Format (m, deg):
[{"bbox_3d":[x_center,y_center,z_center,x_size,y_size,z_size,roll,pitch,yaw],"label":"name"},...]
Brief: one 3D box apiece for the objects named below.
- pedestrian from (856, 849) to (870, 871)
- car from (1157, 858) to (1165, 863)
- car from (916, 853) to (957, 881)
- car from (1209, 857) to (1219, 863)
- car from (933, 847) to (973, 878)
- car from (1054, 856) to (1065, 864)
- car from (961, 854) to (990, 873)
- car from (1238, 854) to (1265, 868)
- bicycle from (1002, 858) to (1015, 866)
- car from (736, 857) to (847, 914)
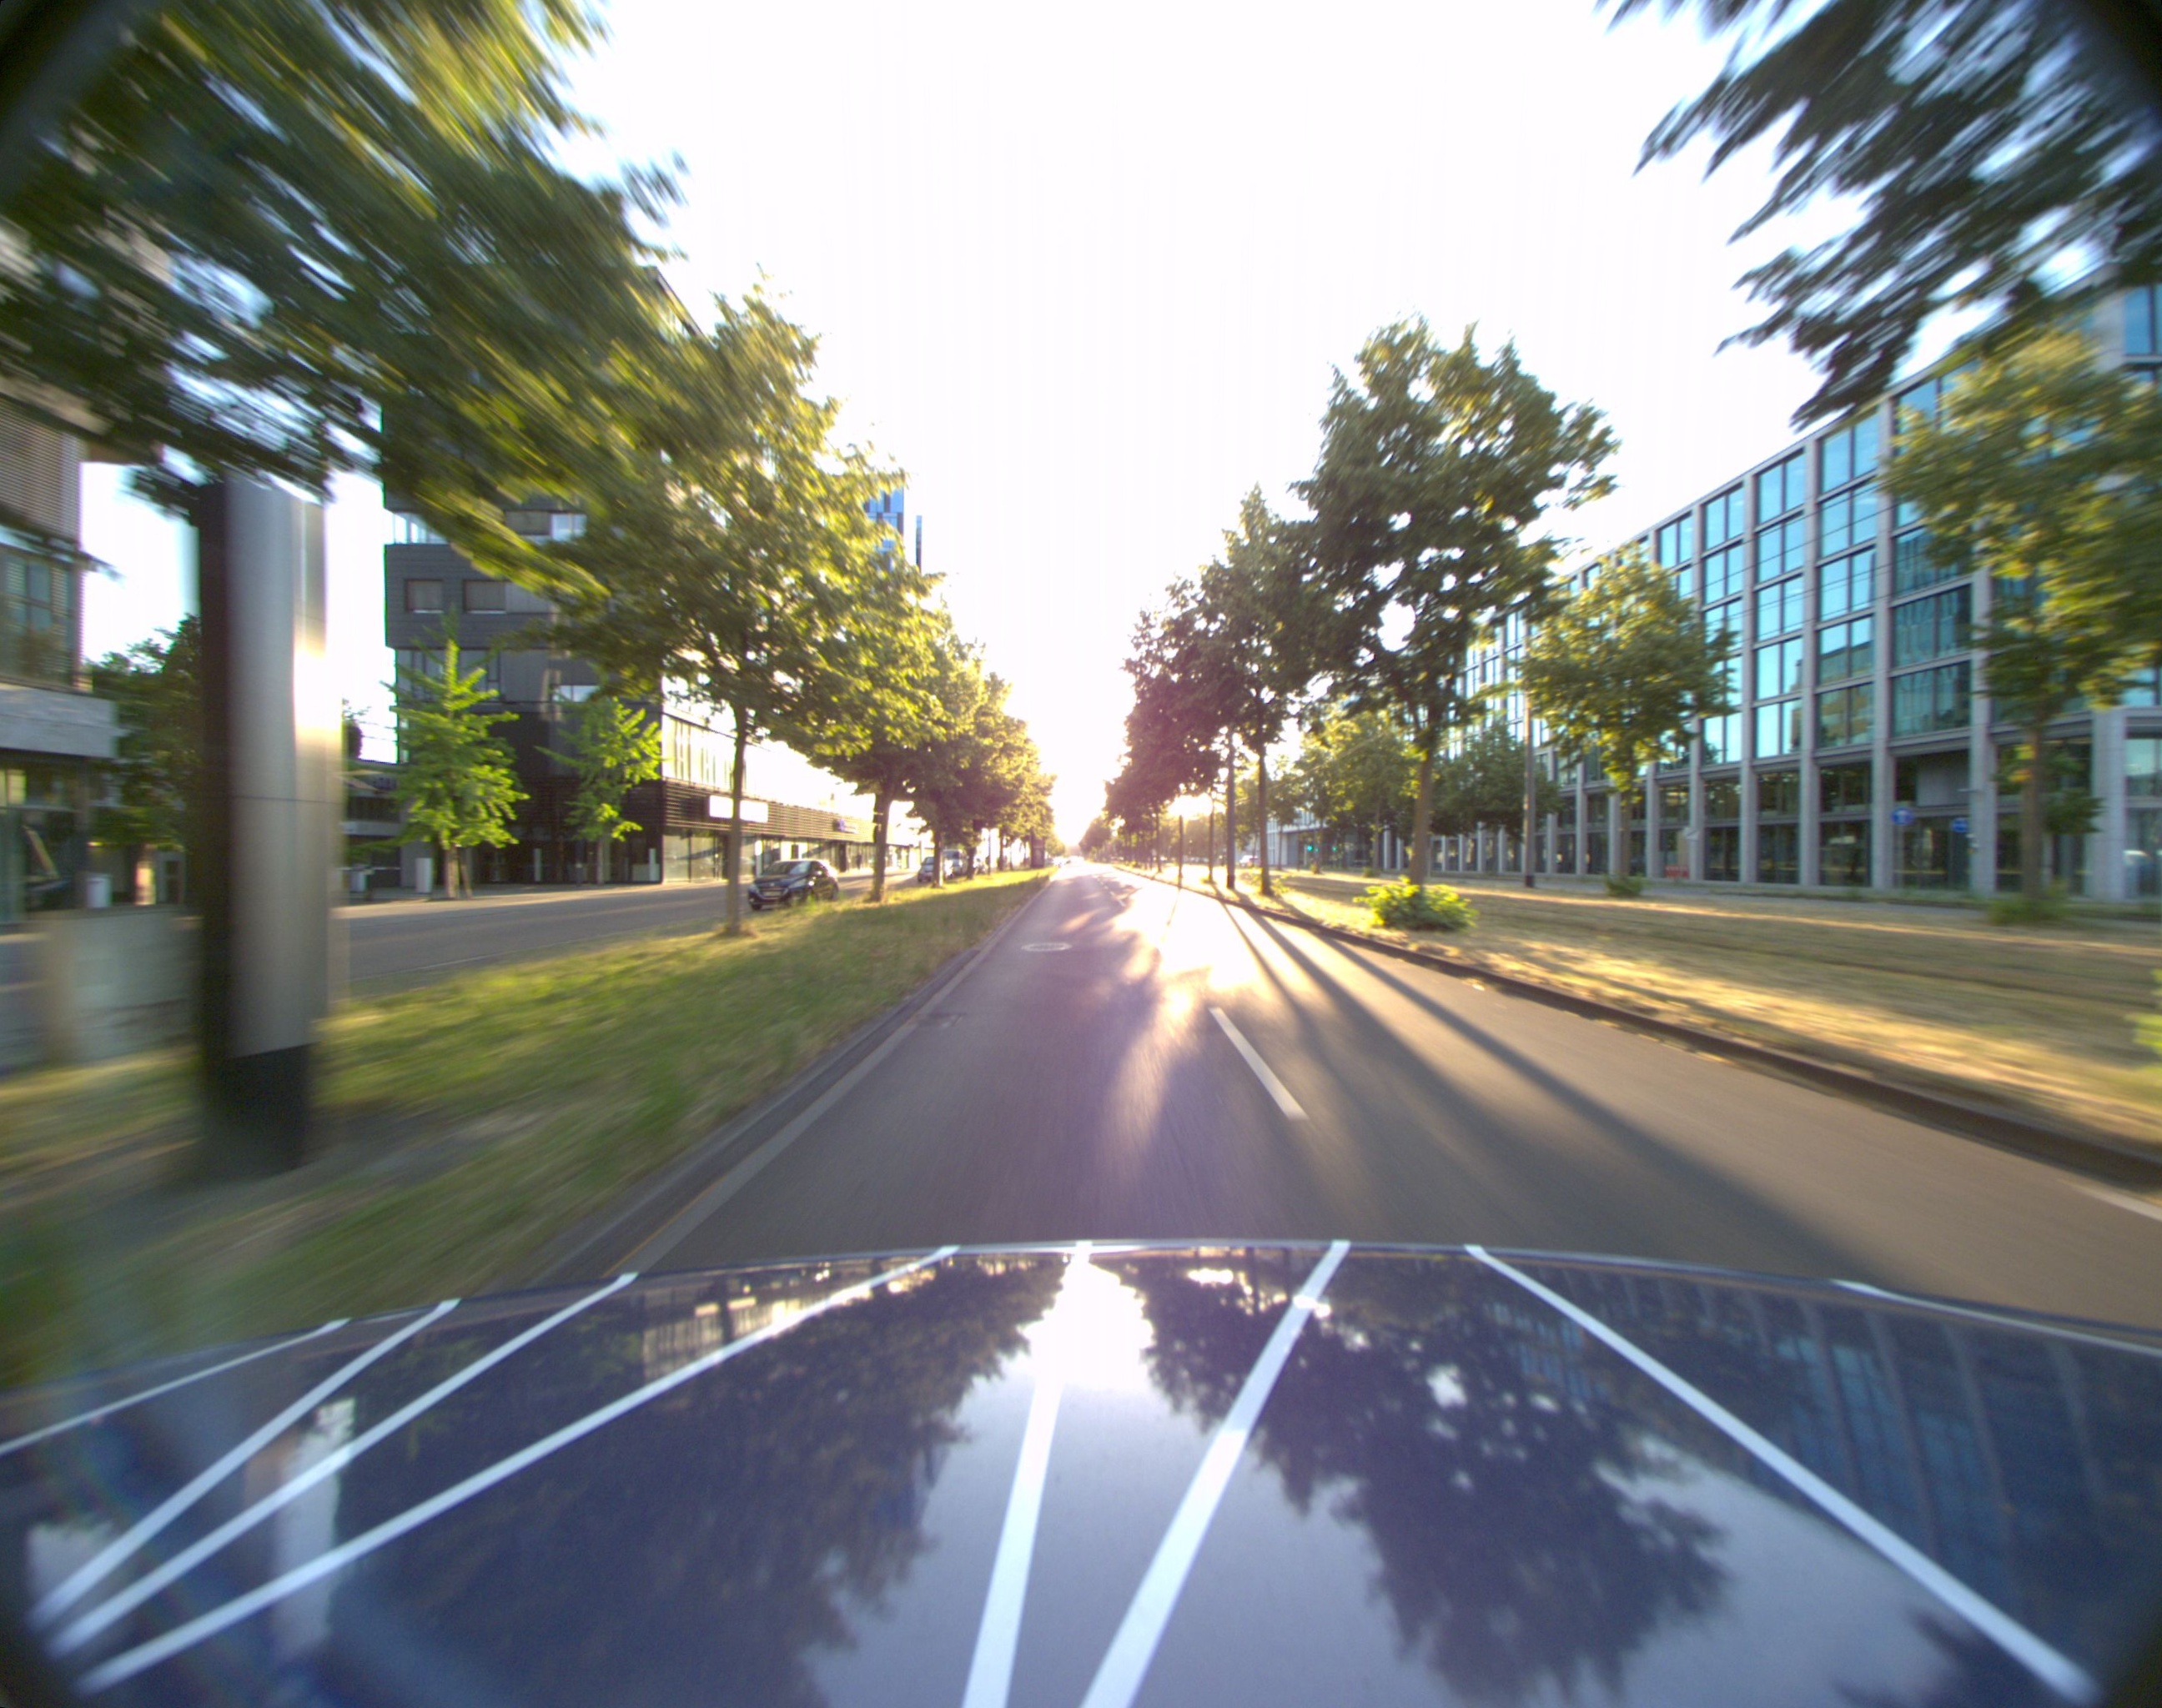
[{"bbox_3d":[-17.526,0.492,61.150,0.899,1.786,0.912,0,0,-2],"label":"pedestrian"},{"bbox_3d":[22.277,1.725,211.137,1.645,1.440,3.999,0,0,-4],"label":"car"},{"bbox_3d":[-8.905,0.769,47.140,1.843,1.561,4.060,-1,0,-1],"label":"car"},{"bbox_3d":[35.137,1.606,201.002,1.764,1.394,3.999,0,0,-2],"label":"car"},{"bbox_3d":[-8.889,0.558,53.036,1.991,1.977,4.931,-1,0,-1],"label":"car"},{"bbox_3d":[-3.916,1.063,137.719,1.999,1.473,4.335,0,0,-1],"label":"car"},{"bbox_3d":[-9.201,0.796,66.560,1.922,1.488,5.040,-1,0,-2],"label":"car"},{"bbox_3d":[19.213,0.751,85.920,1.907,1.477,4.630,0,0,-2],"label":"car"},{"bbox_3d":[-8.746,0.969,91.366,1.718,0.905,0.363,0,0,33],"label":"bicycle"},{"bbox_3d":[-8.711,0.890,23.210,1.785,1.485,4.000,-3,0,0],"label":"car"}]
